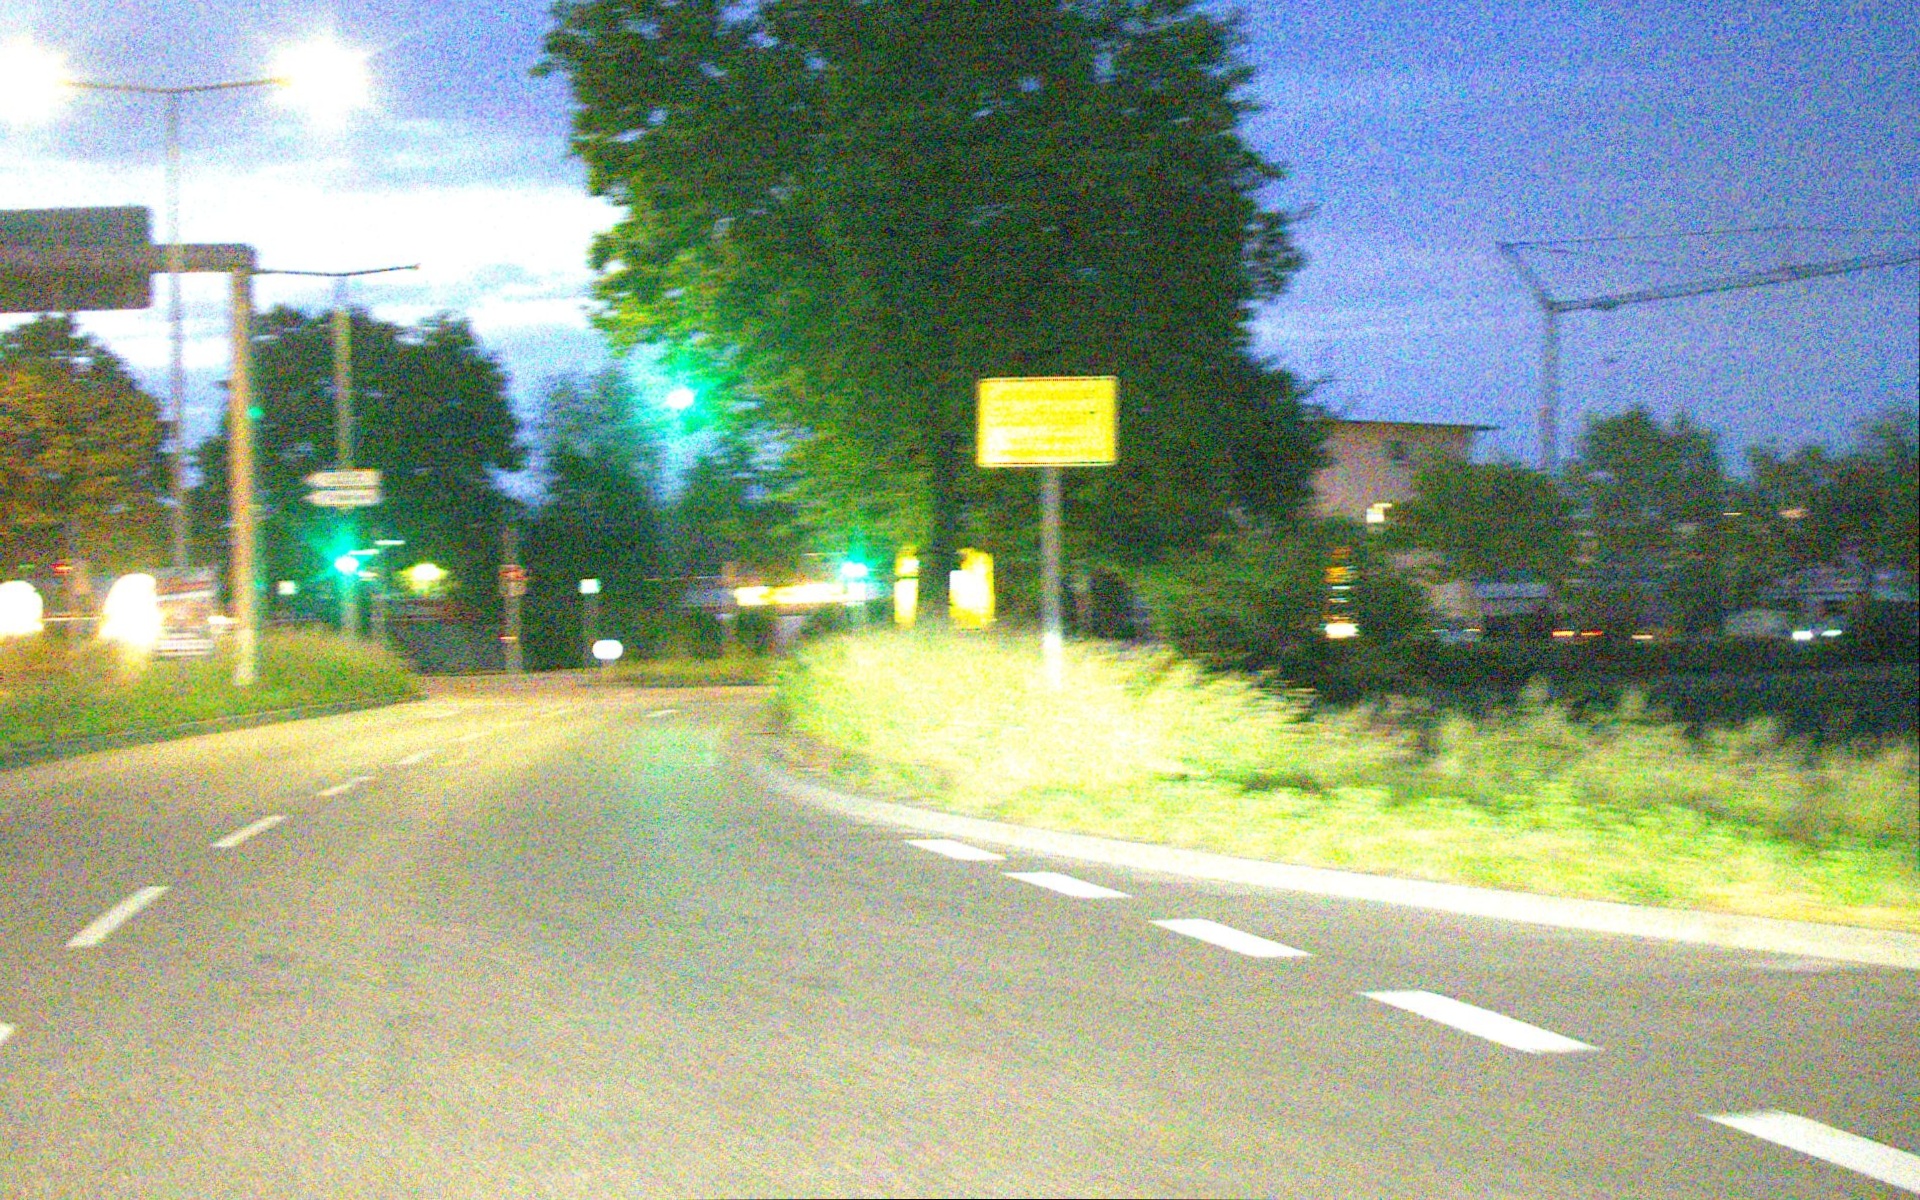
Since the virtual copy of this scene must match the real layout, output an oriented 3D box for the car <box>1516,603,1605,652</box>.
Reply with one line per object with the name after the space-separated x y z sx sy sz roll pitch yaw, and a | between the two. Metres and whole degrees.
26.761 1.197 153.114 1.999 2.007 3.990 1 2 44 | car
